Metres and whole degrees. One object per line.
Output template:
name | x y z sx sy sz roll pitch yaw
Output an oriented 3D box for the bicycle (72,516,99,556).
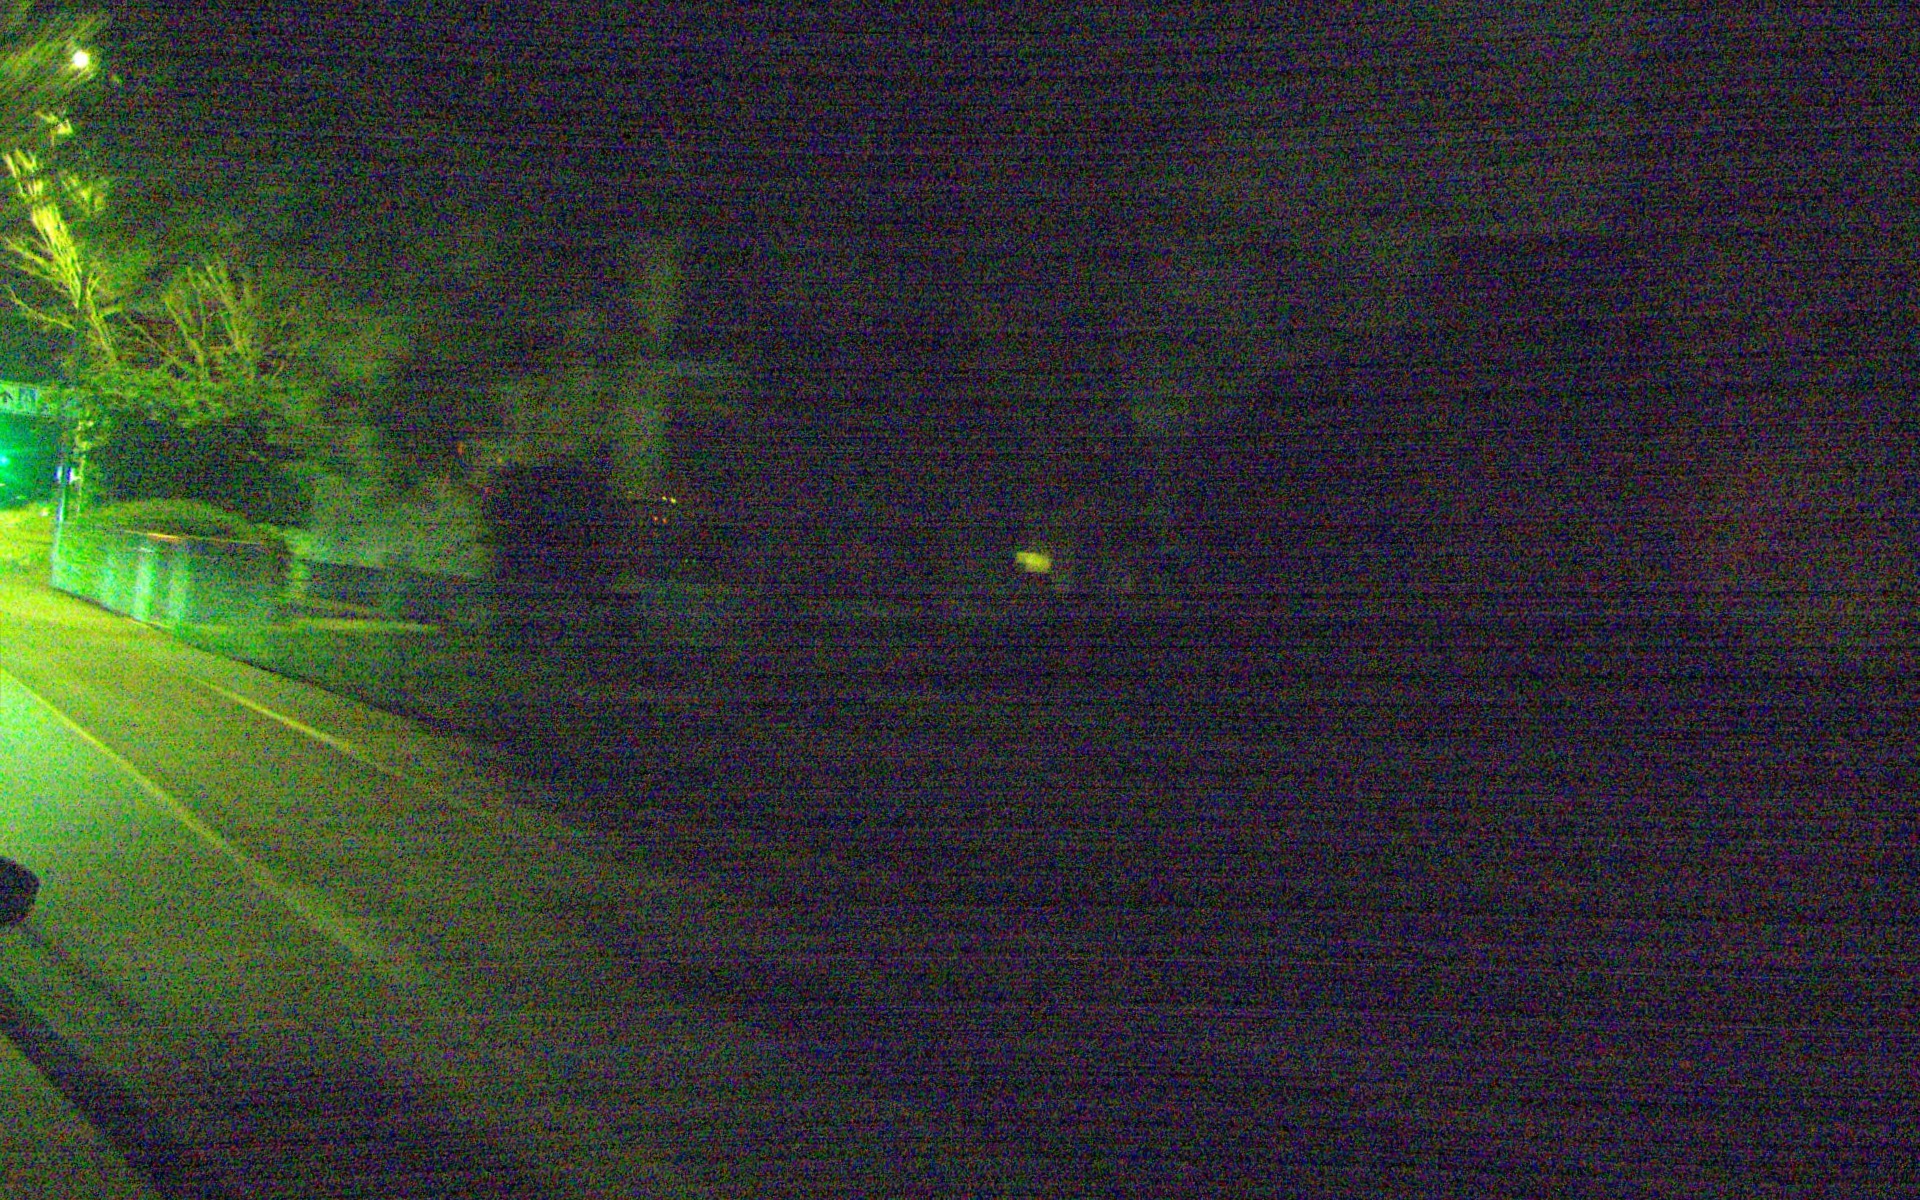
bicycle | -23.264 -1.688 26.755 1.920 0.994 0.294 3 -2 43
